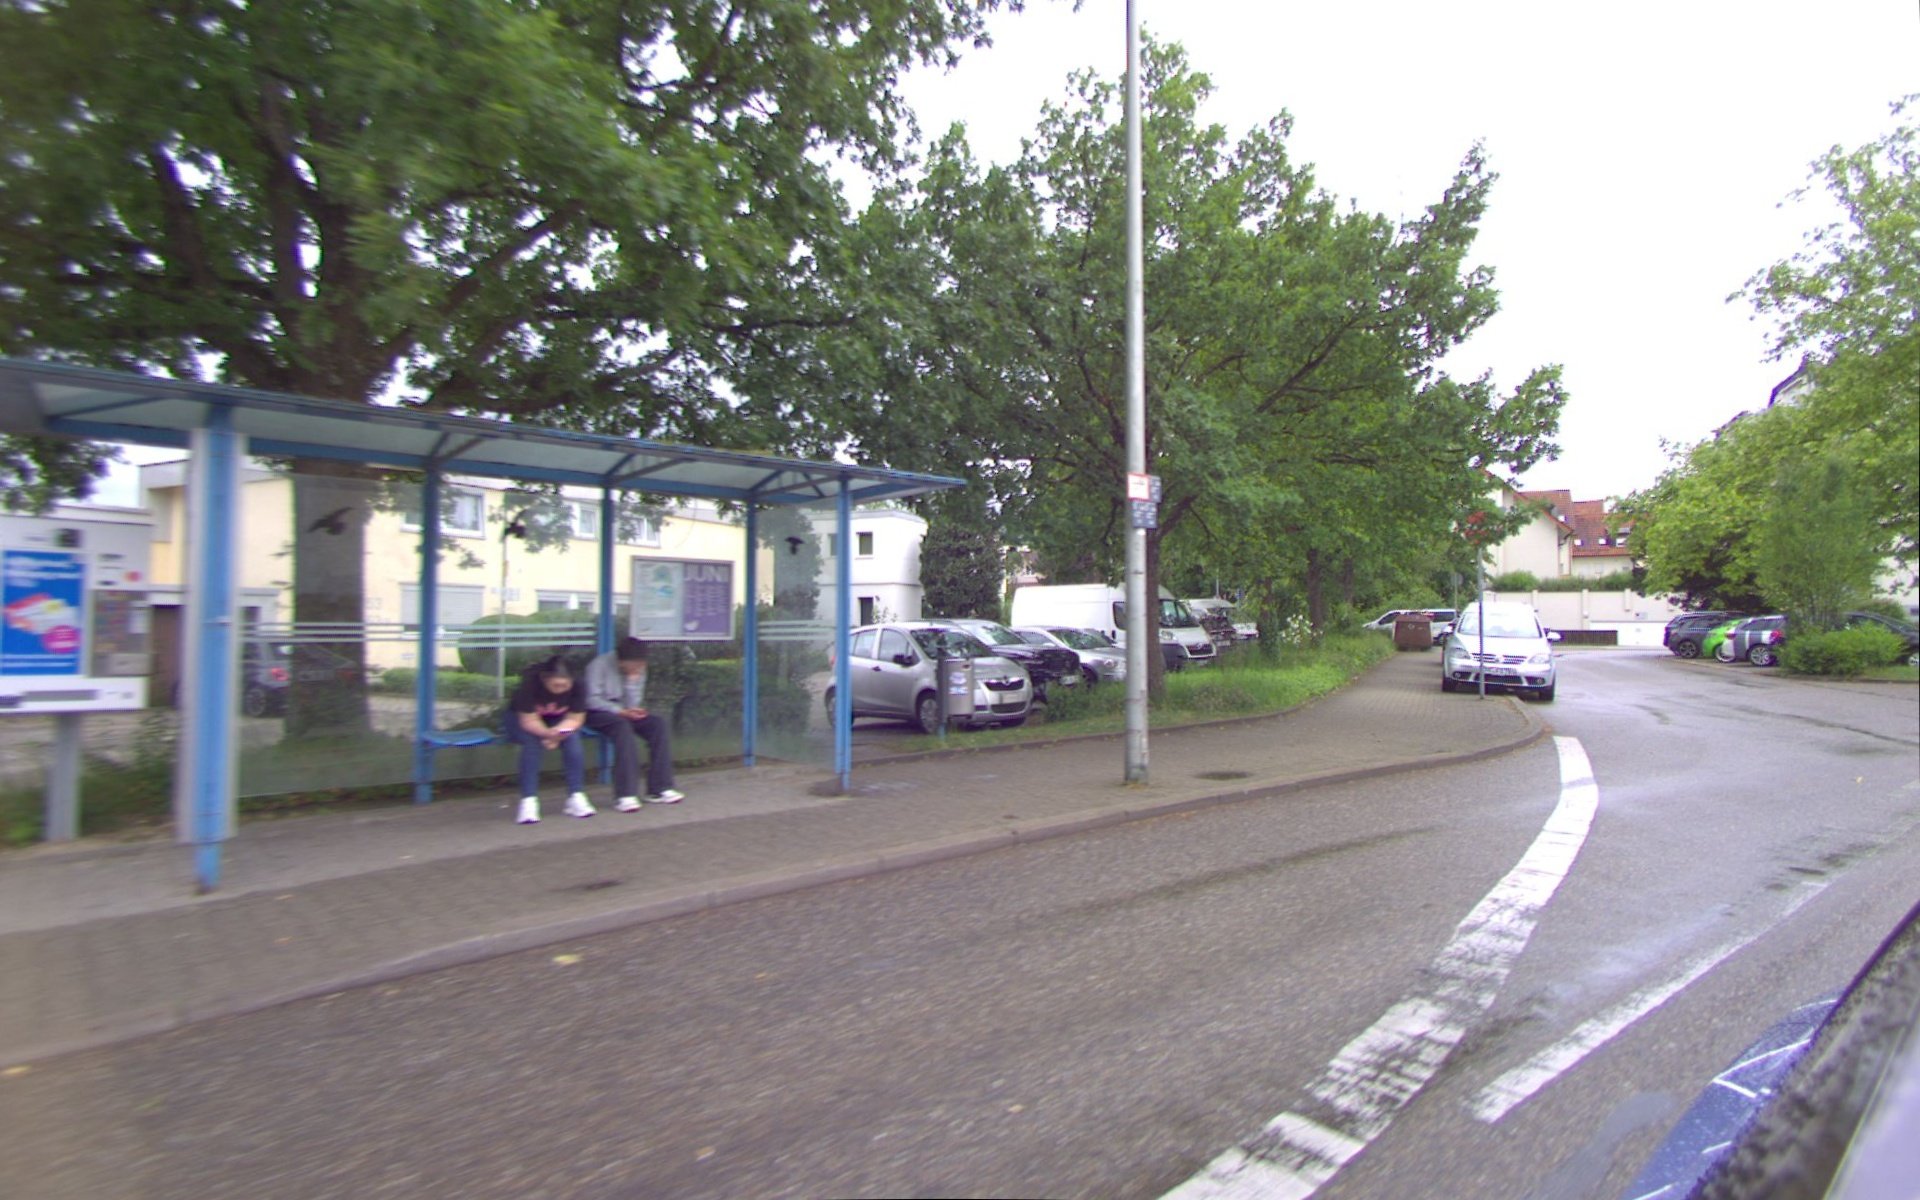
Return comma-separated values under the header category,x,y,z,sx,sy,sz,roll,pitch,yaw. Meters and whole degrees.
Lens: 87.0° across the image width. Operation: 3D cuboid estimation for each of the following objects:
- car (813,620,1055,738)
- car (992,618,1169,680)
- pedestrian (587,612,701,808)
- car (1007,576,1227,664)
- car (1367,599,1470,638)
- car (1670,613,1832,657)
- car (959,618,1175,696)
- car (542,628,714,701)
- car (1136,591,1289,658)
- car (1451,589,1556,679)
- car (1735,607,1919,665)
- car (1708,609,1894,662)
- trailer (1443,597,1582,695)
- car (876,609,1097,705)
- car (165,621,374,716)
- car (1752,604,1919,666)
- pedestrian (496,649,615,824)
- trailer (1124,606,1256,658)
category,x,y,z,sx,sy,sz,roll,pitch,yaw
car,-0.486,1.067,15.075,1.728,1.505,3.652,0,-2,-40
car,2.736,1.085,23.681,1.818,1.313,3.995,0,-1,-39
pedestrian,-2.208,0.724,7.046,0.541,1.266,0.728,1,-2,-38
car,3.896,0.486,26.196,1.964,2.039,5.832,1,-1,-39
car,24.950,1.019,55.094,4.950,2.040,2.065,-1,-1,28
car,26.951,1.164,34.592,1.730,1.389,4.023,0,-1,-34
car,2.006,1.059,19.782,4.029,1.354,1.706,-2,-2,44
car,-7.724,1.452,23.849,1.676,1.529,3.789,-2,-1,27
car,8.222,0.771,33.354,1.962,2.039,4.764,0,-1,-36
car,12.828,0.758,23.830,1.983,1.905,4.167,-1,-1,30
car,24.209,0.933,27.575,1.730,1.461,4.588,0,-1,-34
car,25.347,1.020,30.632,1.730,1.461,4.023,0,-1,-34
trailer,10.026,0.764,18.622,1.980,1.563,4.385,-1,-1,26
car,0.399,0.943,17.772,3.642,1.505,1.733,-2,-2,42
car,-13.598,1.280,19.941,3.583,1.552,1.748,2,0,24
car,22.818,0.827,25.178,1.730,1.461,4.588,0,-1,-34
pedestrian,-2.638,0.848,6.581,0.541,1.025,0.750,1,-2,-38
trailer,6.917,0.941,30.801,1.677,1.455,4.004,0,-1,-28
